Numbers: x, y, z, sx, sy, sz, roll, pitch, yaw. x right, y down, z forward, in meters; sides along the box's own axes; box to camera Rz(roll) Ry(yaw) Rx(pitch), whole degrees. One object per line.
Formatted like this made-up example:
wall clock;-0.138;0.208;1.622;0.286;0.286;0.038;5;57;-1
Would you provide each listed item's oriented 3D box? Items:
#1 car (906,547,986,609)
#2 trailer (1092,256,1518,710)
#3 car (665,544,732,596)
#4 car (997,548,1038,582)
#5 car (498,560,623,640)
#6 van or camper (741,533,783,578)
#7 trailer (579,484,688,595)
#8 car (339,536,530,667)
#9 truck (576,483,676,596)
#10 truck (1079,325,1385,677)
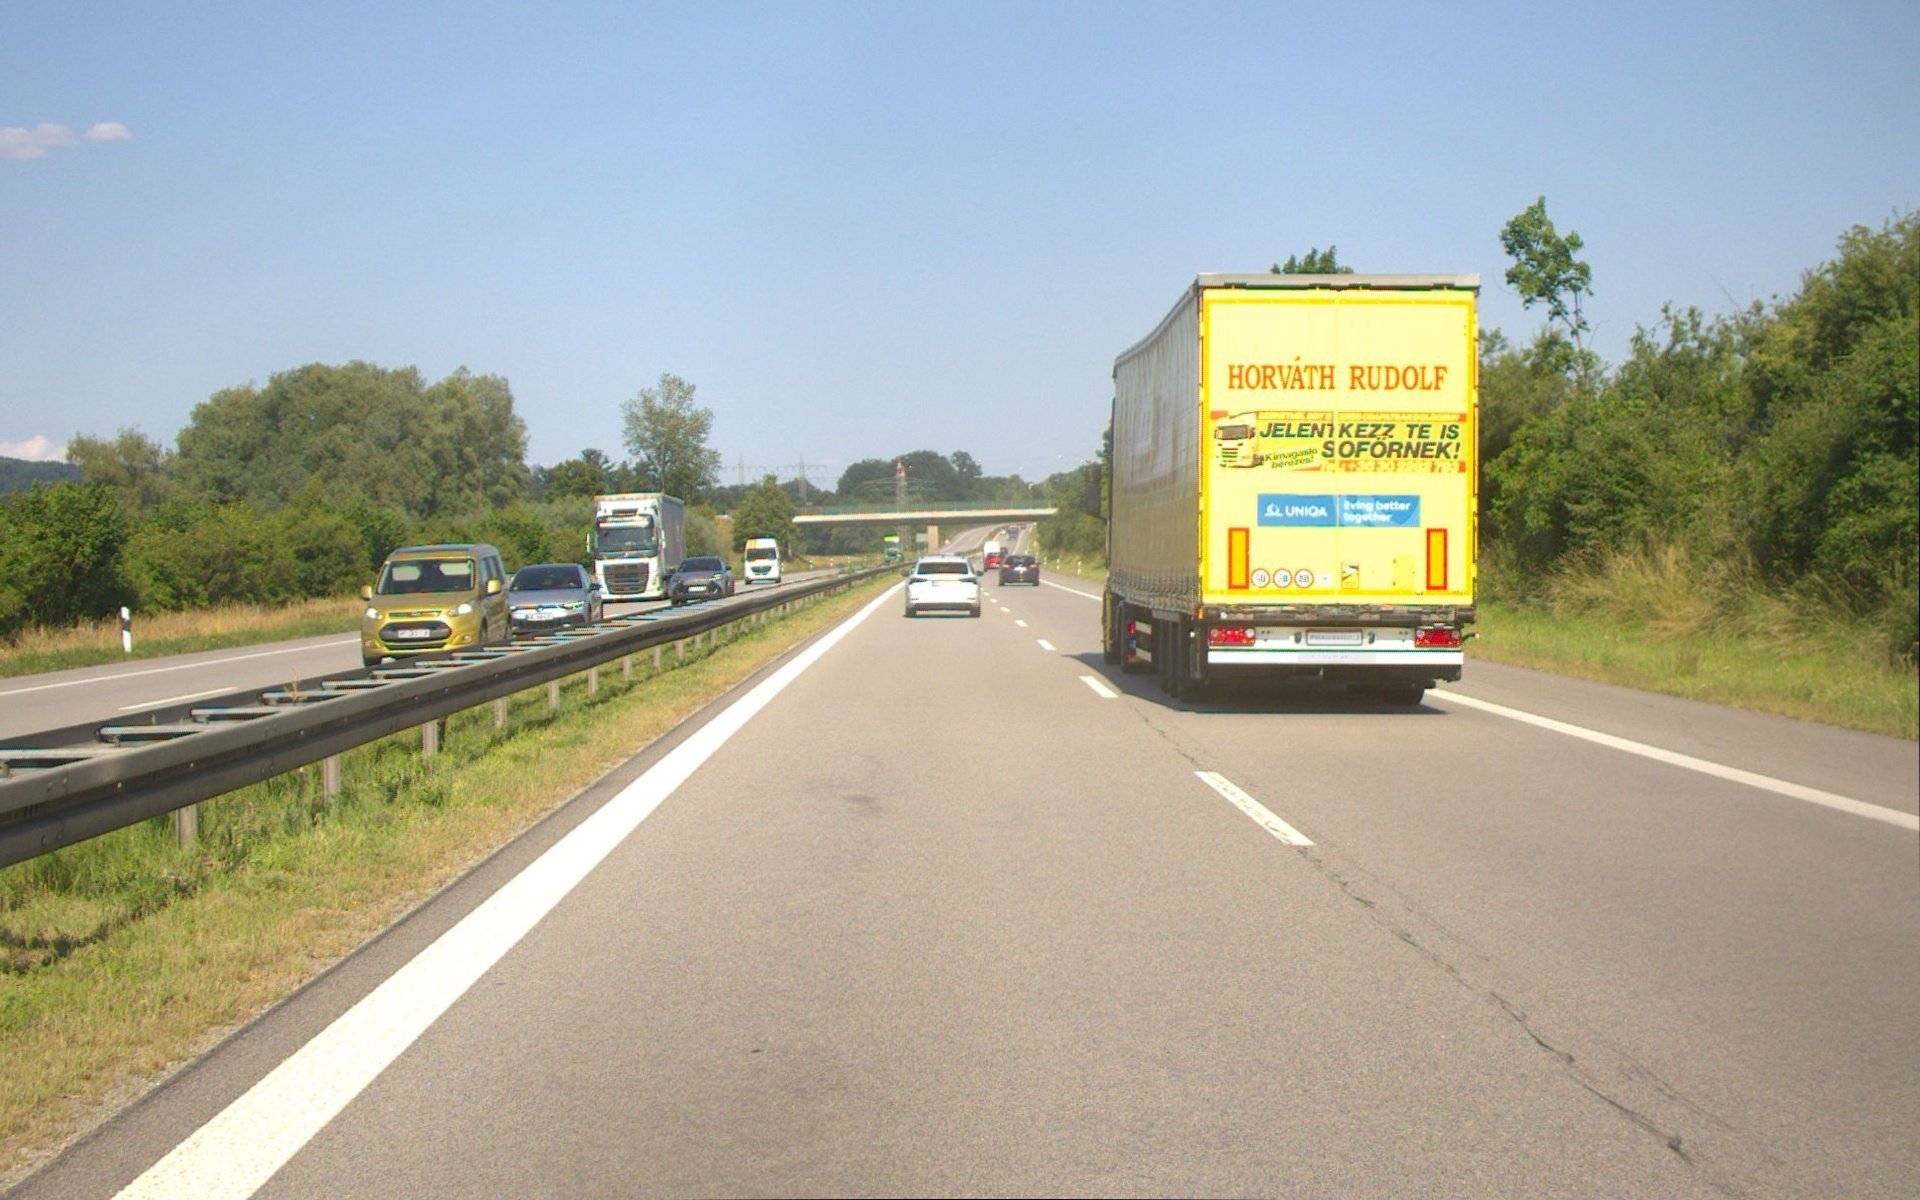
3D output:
car;-0.321;-0.540;81.705;1.843;1.411;4.000;1;1;0
trailer;3.364;-1.131;37.622;3.184;4.045;13.187;1;1;0
car;-8.609;-0.988;113.355;1.725;1.577;4.768;-4;1;0
car;2.674;-1.641;159.803;1.843;1.515;4.000;1;1;0
car;-7.866;-0.029;68.040;1.767;1.415;4.470;-4;1;1
van or camper;-11.429;-2.586;198.999;1.993;2.488;7.228;-2;1;-1
trailer;-13.035;-2.404;138.495;3.184;4.045;14.599;-3;1;-2
car;-7.890;-0.007;52.064;1.950;1.765;4.748;-4;1;1
truck;-12.767;-2.306;131.894;3.168;4.100;6.389;-3;1;-1
truck;3.320;-1.201;43.740;3.168;4.100;6.389;1;1;-1
